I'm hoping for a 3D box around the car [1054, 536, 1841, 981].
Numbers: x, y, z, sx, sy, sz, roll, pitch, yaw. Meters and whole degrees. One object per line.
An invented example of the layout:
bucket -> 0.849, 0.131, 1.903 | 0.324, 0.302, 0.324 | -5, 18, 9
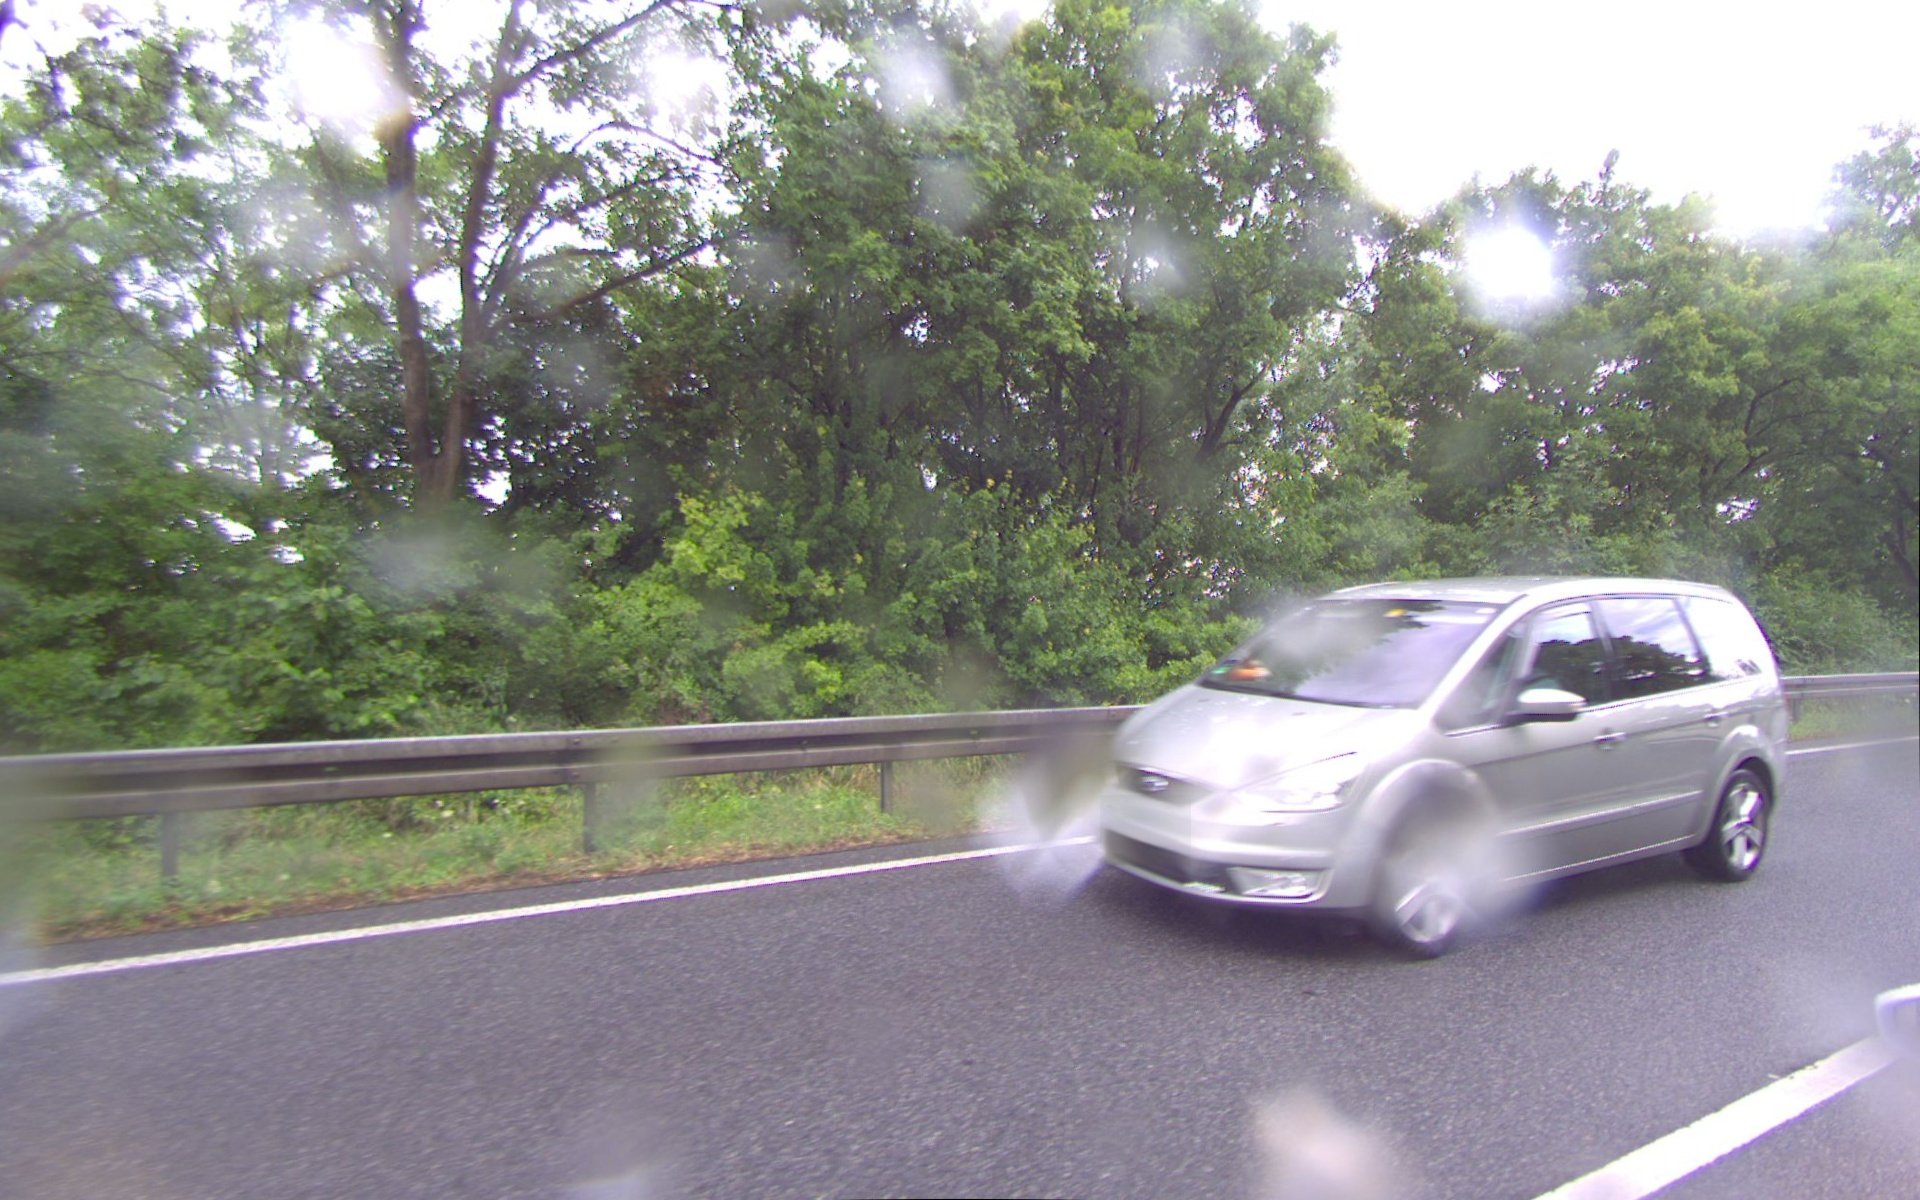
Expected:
car -> 2.946, 0.672, 5.788 | 4.567, 1.708, 1.806 | 2, 0, -30
